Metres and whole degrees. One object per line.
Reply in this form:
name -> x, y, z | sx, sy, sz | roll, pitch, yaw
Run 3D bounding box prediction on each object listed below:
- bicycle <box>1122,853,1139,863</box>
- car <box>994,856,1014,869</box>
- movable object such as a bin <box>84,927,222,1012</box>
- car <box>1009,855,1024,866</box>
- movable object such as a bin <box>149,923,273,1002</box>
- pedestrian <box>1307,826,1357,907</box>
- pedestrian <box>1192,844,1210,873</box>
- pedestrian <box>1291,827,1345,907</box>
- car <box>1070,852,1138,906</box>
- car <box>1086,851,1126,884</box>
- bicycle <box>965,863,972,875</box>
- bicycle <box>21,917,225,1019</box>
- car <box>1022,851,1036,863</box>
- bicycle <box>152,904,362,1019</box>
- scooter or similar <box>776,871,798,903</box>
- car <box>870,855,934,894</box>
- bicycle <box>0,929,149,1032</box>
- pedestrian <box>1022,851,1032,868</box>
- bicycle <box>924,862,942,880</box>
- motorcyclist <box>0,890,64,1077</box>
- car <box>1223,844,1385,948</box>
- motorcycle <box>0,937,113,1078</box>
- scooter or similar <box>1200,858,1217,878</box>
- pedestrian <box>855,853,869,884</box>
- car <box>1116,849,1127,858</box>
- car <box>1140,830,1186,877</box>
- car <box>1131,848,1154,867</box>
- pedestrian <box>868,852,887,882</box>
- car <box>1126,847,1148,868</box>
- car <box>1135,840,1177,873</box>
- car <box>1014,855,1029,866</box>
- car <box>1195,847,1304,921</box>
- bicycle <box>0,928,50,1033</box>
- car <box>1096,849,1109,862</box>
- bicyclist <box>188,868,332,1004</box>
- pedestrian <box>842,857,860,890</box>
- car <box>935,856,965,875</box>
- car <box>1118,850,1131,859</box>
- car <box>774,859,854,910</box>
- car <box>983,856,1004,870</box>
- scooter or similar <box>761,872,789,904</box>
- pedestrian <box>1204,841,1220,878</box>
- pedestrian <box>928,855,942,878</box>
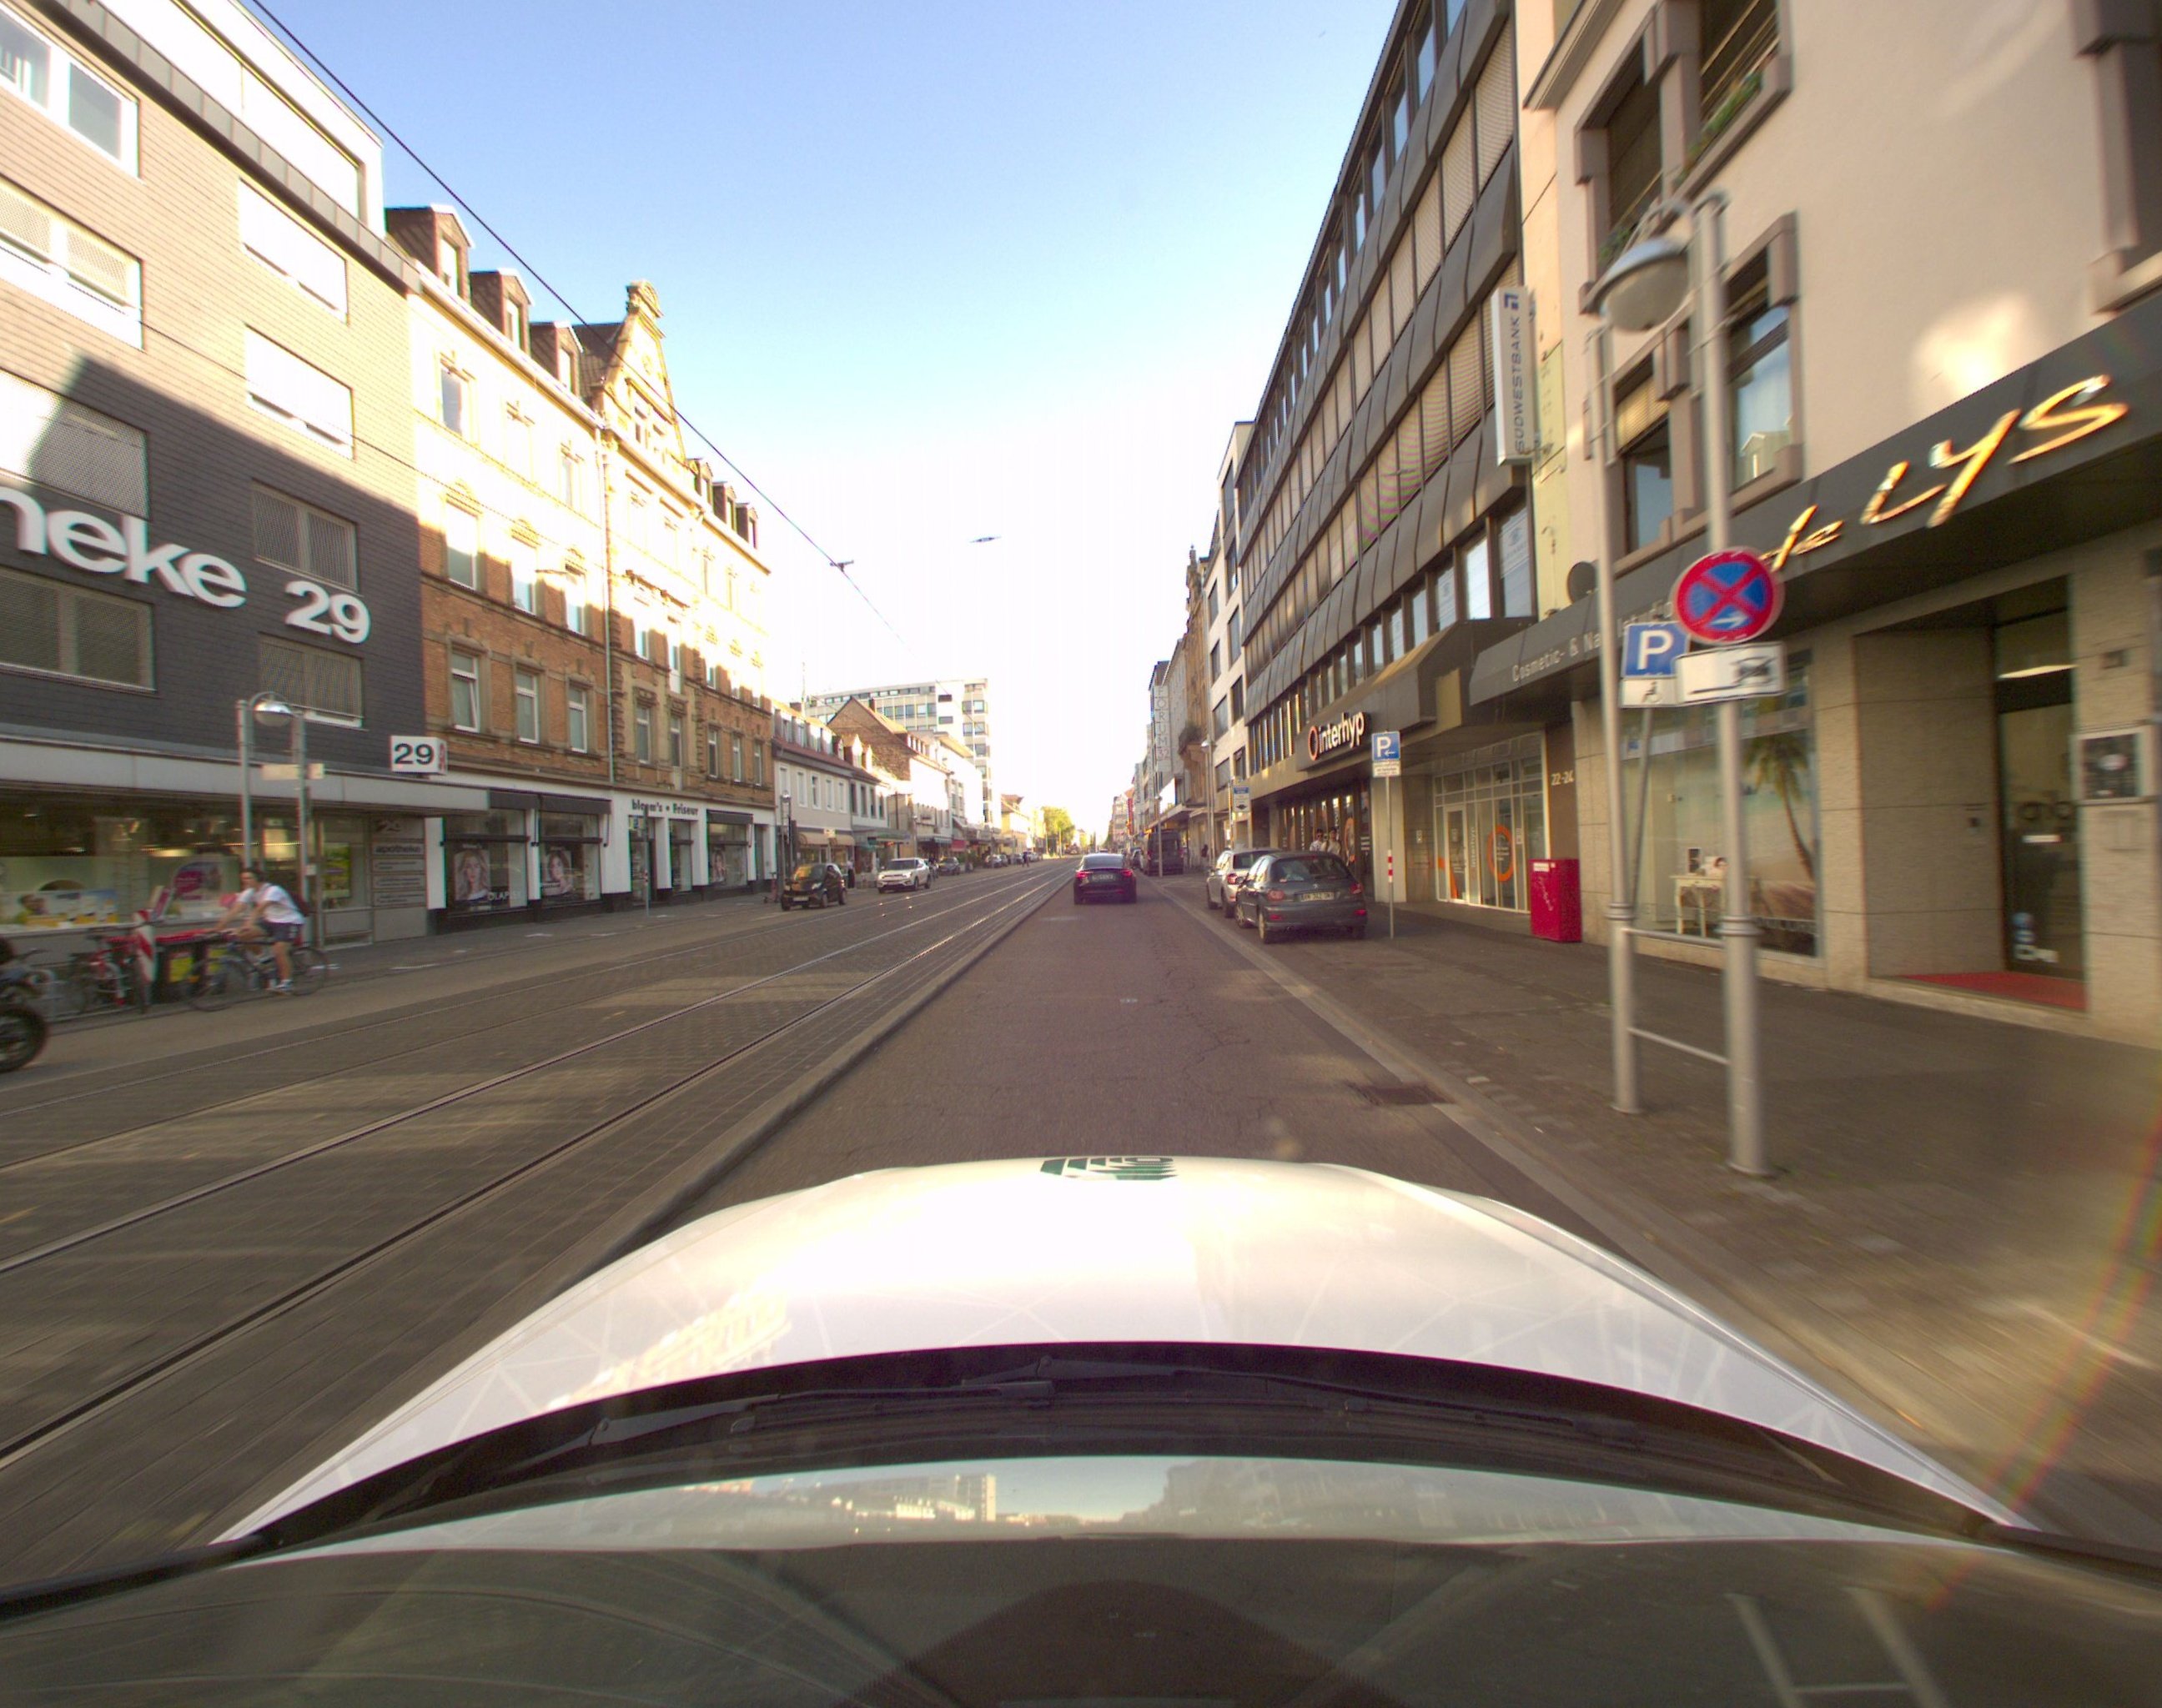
bicycle -> 6.427, 0.529, 106.787 | 2.153, 1.097, 0.686 | -2, 0, -1
car -> -9.777, 1.093, 103.099 | 1.761, 1.508, 3.866 | -2, 0, 5
movable object such as a bin -> -13.033, 1.608, 11.462 | 1.095, 1.072, 0.735 | -1, 0, 2
car -> -9.535, 0.940, 120.545 | 1.710, 1.571, 3.853 | -2, 0, 4
movable object such as a bin -> -12.996, 1.607, 12.188 | 1.095, 1.063, 0.699 | -1, 0, 2
pedestrian -> 5.687, 0.274, 18.500 | 0.776, 1.752, 1.033 | -2, 0, 2
pedestrian -> 6.758, 0.253, 45.890 | 0.766, 1.543, 0.804 | -4, 0, 1
pedestrian -> 5.748, 0.305, 19.816 | 0.919, 1.842, 1.000 | -4, 0, 2
car -> 0.734, 0.687, 24.998 | 1.862, 1.427, 4.367 | -2, 0, 2
car -> 1.195, 0.648, 39.294 | 1.755, 1.418, 4.355 | -2, -1, 1
bicycle -> -10.427, 1.392, 75.737 | 0.369, 1.002, 1.596 | -2, 0, -16
bicycle -> -12.730, 1.495, 10.854 | 1.930, 1.190, 0.551 | -2, 0, -3
car -> -8.915, 0.554, 139.666 | 2.001, 1.961, 4.726 | -2, 0, 2
bicycle -> -11.215, 1.410, 11.214 | 0.747, 1.293, 2.026 | -2, 0, 2
scooter or similar -> -11.900, 1.329, 33.018 | 0.363, 1.202, 1.476 | 0, 0, -1
car -> -8.506, 0.933, 39.041 | 1.882, 1.594, 4.265 | -4, 0, 2
bicycle -> -13.046, 1.572, 10.104 | 1.930, 1.111, 0.773 | -2, 0, -4
pedestrian -> -6.189, 0.617, 93.829 | 0.764, 1.849, 0.833 | -3, 0, 30
bicycle -> -9.713, 1.130, 53.437 | 0.575, 1.115, 1.956 | -2, 0, 6
motorcyclist -> -9.578, 1.126, 6.735 | 0.800, 1.558, 1.147 | -3, 0, 3
car -> 3.717, 0.627, 14.373 | 1.840, 1.462, 4.306 | -3, 0, 3
motorcycle -> -9.495, 1.357, 6.642 | 0.567, 1.119, 2.118 | -3, 0, 2
scooter or similar -> 6.339, 0.671, 40.590 | 0.591, 0.936, 1.298 | -4, 0, 0
pedestrian -> -13.153, 0.843, 48.977 | 0.655, 1.823, 0.641 | -2, 0, -4
car -> 8.156, -0.037, 164.105 | 1.986, 1.753, 4.001 | -2, -1, 2
car -> 4.778, -0.040, 48.166 | 2.164, 2.461, 5.363 | -4, 0, 1
car -> 5.117, 0.280, 68.579 | 1.745, 1.499, 3.756 | -3, 0, 2
pedestrian -> -12.413, 0.807, 49.728 | 0.883, 1.775, 0.688 | -2, 0, 0
car -> 5.119, 0.309, 74.721 | 1.814, 1.870, 3.756 | -2, 0, 2
car -> 4.950, 0.122, 54.712 | 2.152, 1.926, 4.615 | -5, 0, -1
car -> -9.239, 0.962, 126.284 | 1.762, 1.508, 3.976 | -2, 0, 4
car -> 3.830, 0.630, 19.194 | 1.739, 1.462, 4.297 | -3, 0, 2
bicycle -> -13.236, 1.483, 9.248 | 1.930, 1.152, 0.773 | -2, 0, -4
car -> 3.454, 0.239, 129.995 | 2.077, 1.870, 3.756 | -2, 0, 2
bicyclist -> -11.285, 1.086, 11.244 | 0.747, 1.729, 1.147 | -2, 0, 3
pedestrian -> -12.440, 1.052, 44.011 | 0.609, 1.775, 0.721 | -2, 0, 15
car -> -11.048, 0.957, 68.888 | 1.668, 1.546, 3.747 | 0, 0, 4
car -> 7.290, 0.103, 135.607 | 1.986, 1.543, 4.001 | -2, -1, 2
car -> -9.052, 1.008, 27.819 | 1.642, 1.566, 2.831 | -2, 0, 2
car -> -10.387, 1.026, 96.628 | 1.762, 1.508, 3.867 | -2, 0, 3
scooter or similar -> -12.386, 1.359, 33.023 | 0.577, 1.202, 1.476 | -1, 0, -1
pedestrian -> 6.369, 0.269, 39.630 | 0.554, 1.714, 0.955 | -4, 0, 0
pedestrian -> -9.619, 0.827, 53.749 | 0.621, 1.444, 0.876 | -2, -1, 6
